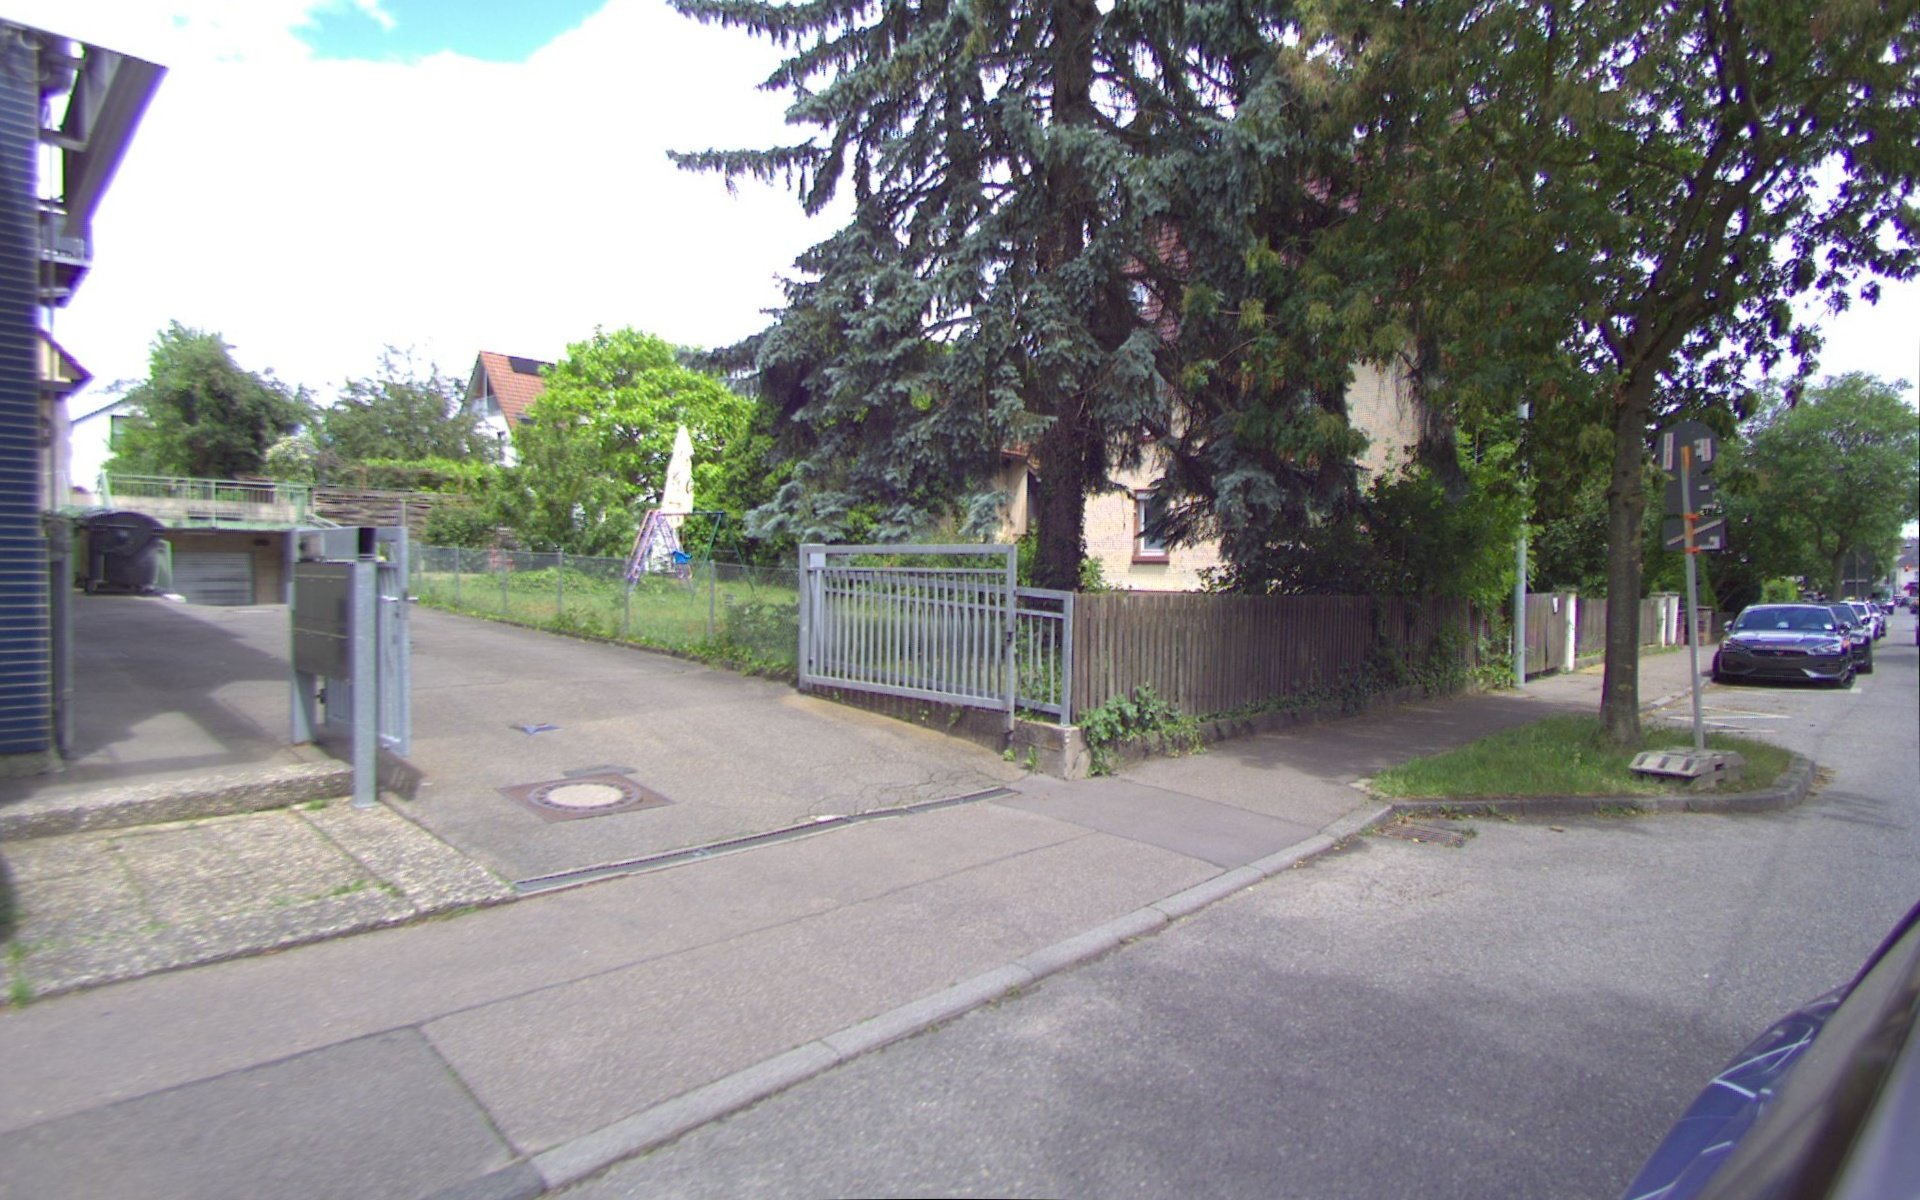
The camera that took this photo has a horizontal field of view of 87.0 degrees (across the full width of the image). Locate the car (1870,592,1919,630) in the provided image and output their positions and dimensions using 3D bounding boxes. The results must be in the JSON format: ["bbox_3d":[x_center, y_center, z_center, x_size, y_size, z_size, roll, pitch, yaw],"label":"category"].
[{"bbox_3d":[39.678,0.427,42.765,1.762,1.510,3.523,-1,1,43],"label":"car"}]

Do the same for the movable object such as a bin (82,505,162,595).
[{"bbox_3d":[-14.452,-0.840,17.447,1.011,1.483,1.149,-1,1,-42],"label":"movable object such as a bin"}]

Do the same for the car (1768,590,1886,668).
[{"bbox_3d":[18.592,0.559,21.650,1.762,1.510,3.800,-1,0,43],"label":"car"}]

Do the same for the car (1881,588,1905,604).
[{"bbox_3d":[83.433,-0.351,90.503,1.530,1.332,3.523,-1,1,43],"label":"car"}]

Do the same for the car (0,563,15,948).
[{"bbox_3d":[-5.303,0.525,2.485,1.784,1.299,4.251,3,3,42],"label":"car"}]

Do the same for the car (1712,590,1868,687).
[{"bbox_3d":[15.082,0.606,18.316,1.933,1.510,3.961,-1,1,43],"label":"car"}]

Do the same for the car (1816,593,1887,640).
[{"bbox_3d":[31.411,0.551,35.619,1.762,1.510,3.523,-1,1,43],"label":"car"}]
